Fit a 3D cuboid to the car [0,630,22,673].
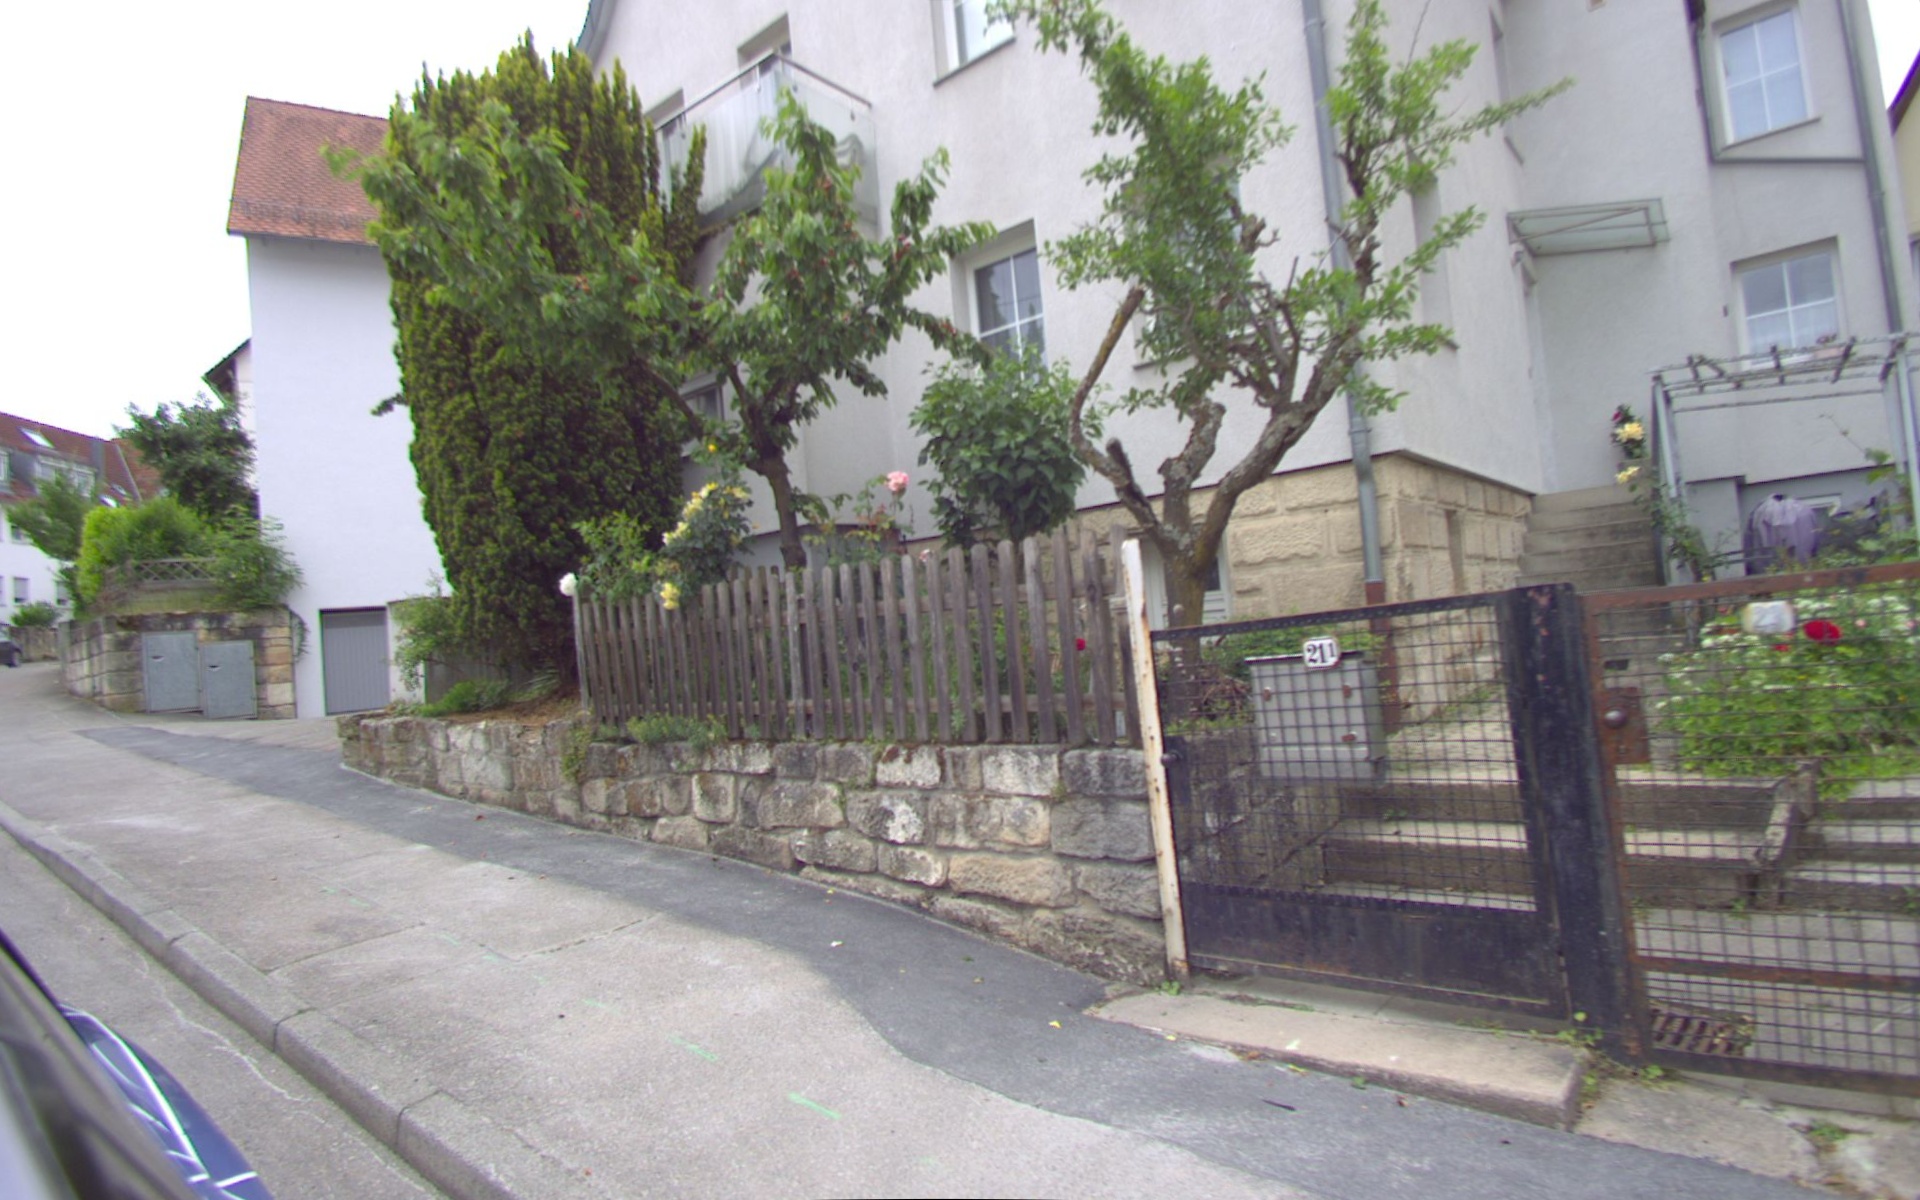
[{"bbox_3d":[-32.871,1.787,33.085,1.694,1.417,4.015,-5,0,-19],"label":"car"}]
